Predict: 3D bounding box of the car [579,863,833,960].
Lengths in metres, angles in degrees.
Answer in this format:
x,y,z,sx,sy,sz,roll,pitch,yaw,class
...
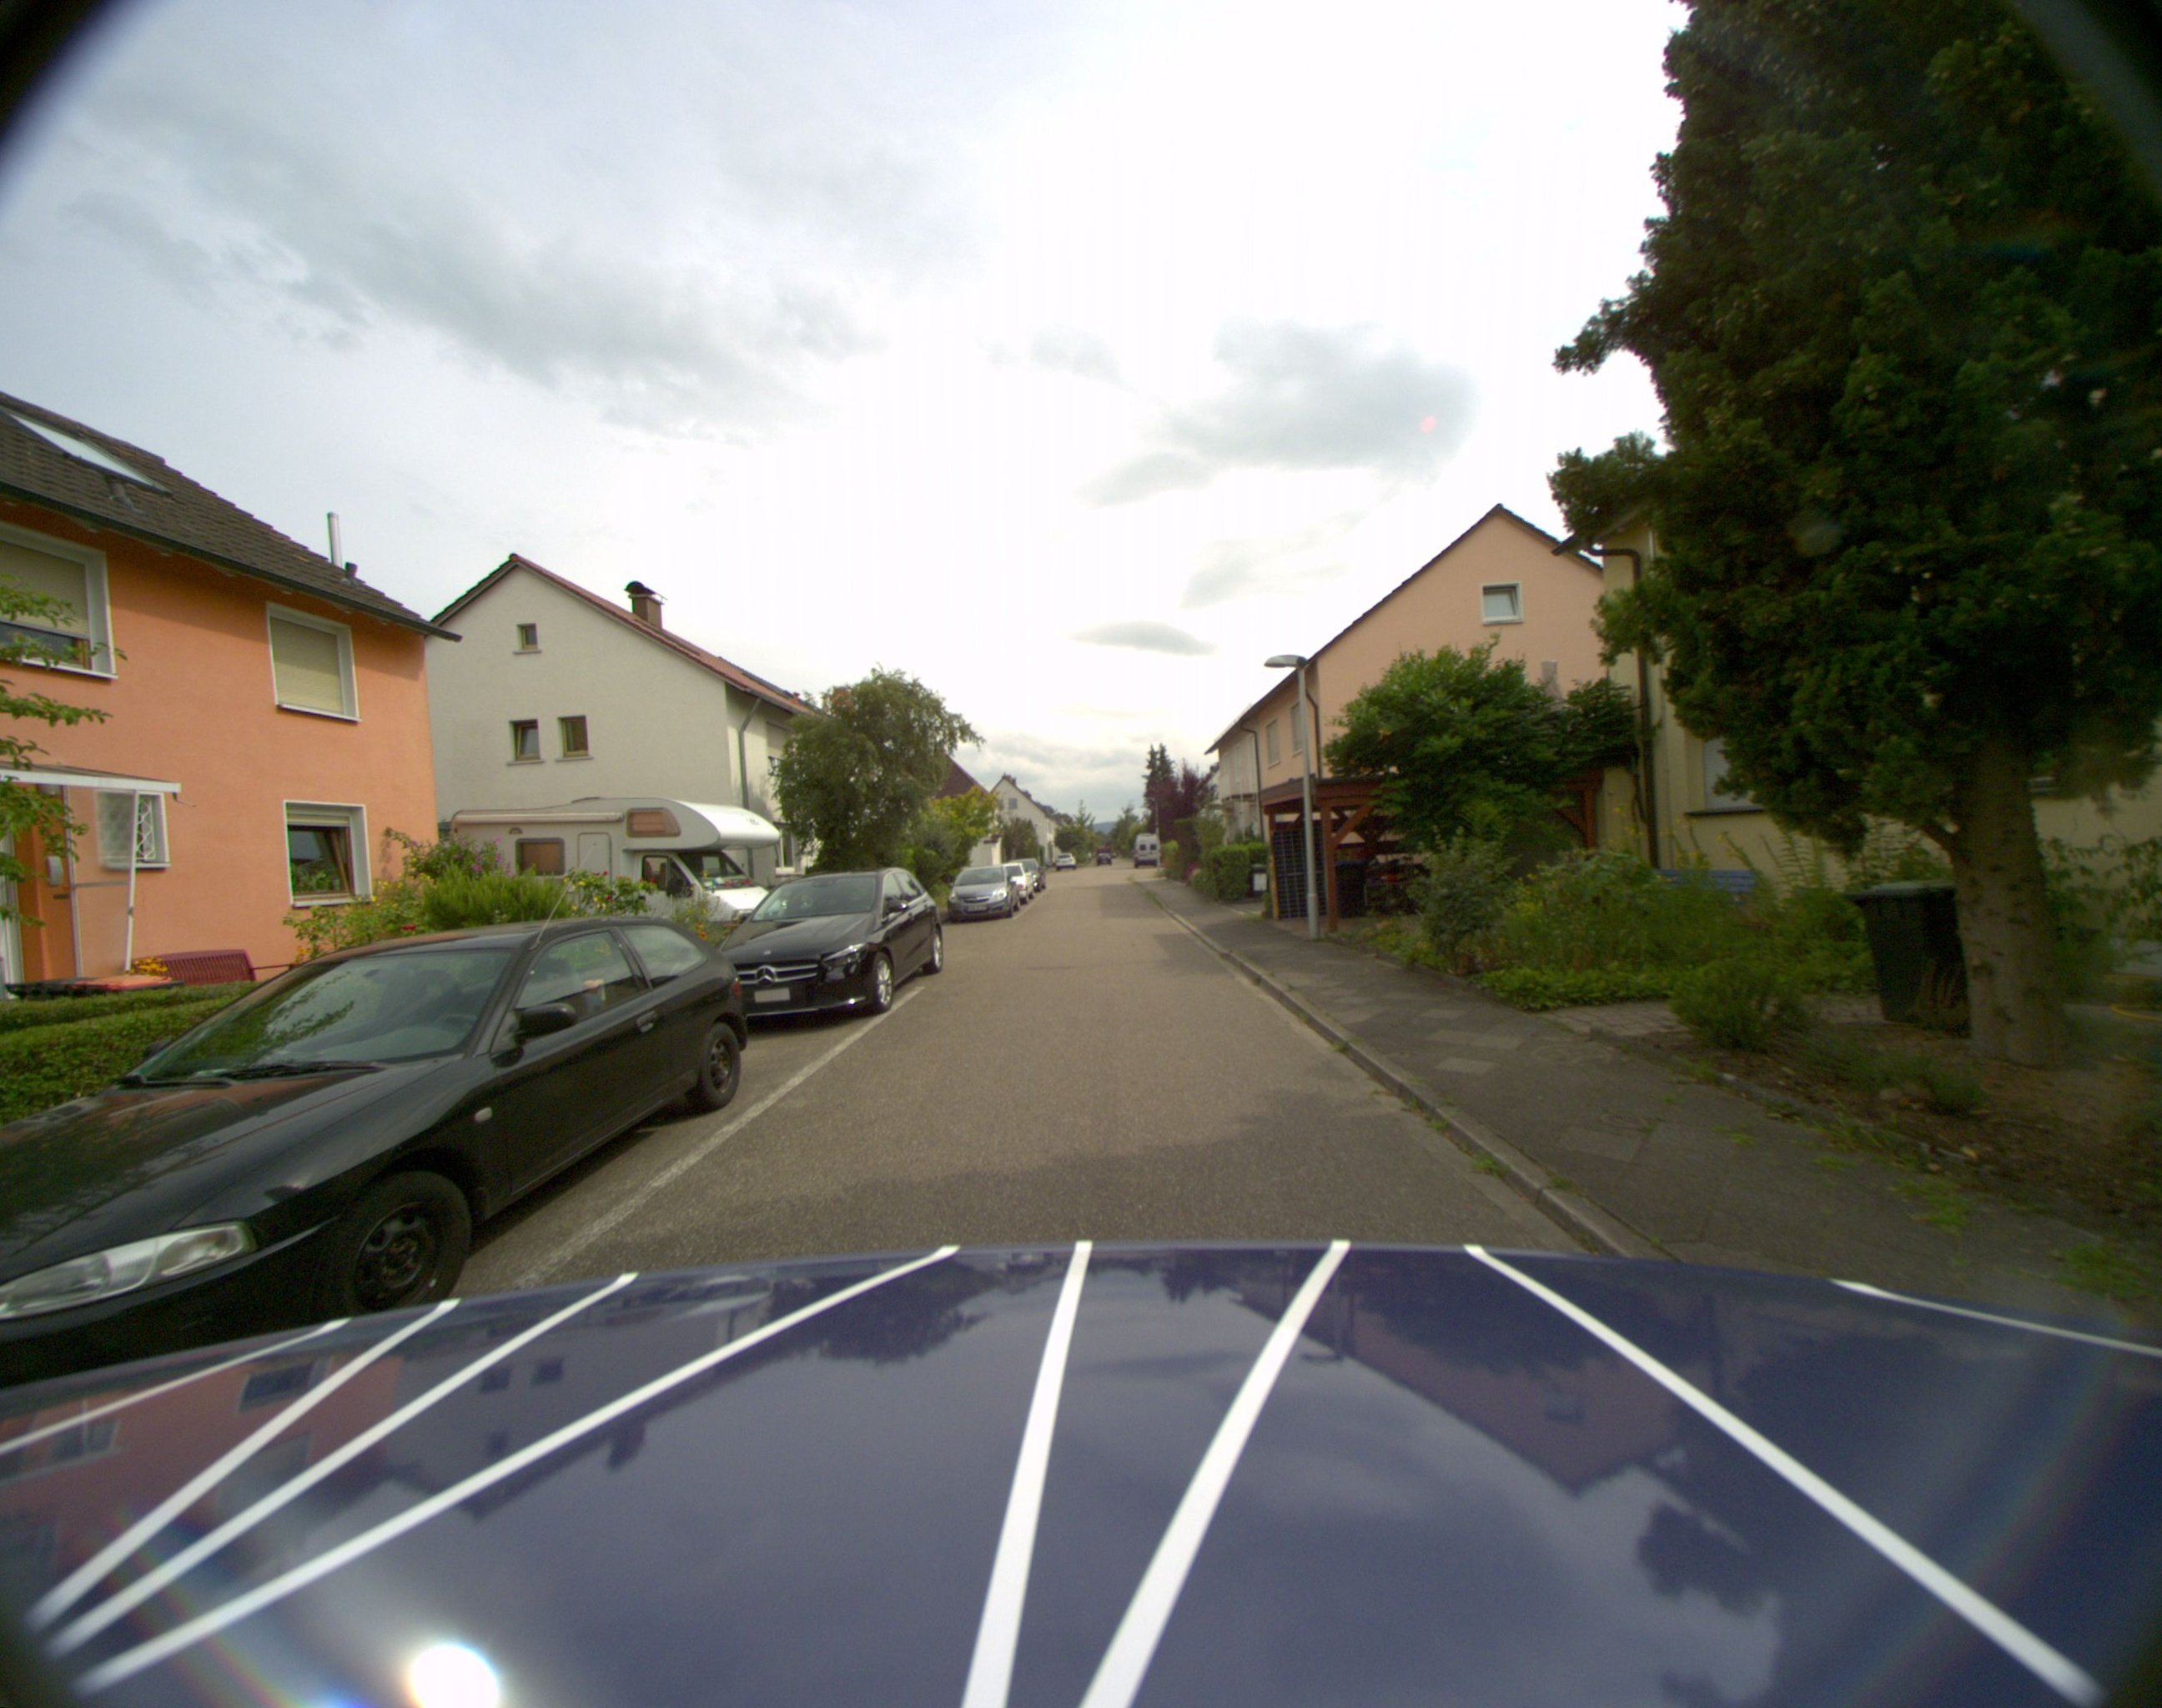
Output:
x,y,z,sx,sy,sz,roll,pitch,yaw,class
-8.062,1.210,16.598,4.541,1.698,1.899,-4,1,4,car

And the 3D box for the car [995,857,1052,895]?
x,y,z,sx,sy,sz,roll,pitch,yaw,class
-2.478,0.914,33.892,1.872,1.431,4.851,-4,0,2,car

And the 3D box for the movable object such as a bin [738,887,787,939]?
x,y,z,sx,sy,sz,roll,pitch,yaw,class
-7.868,1.446,18.820,0.655,1.169,1.142,-3,1,1,movable object such as a bin

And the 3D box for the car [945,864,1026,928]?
x,y,z,sx,sy,sz,roll,pitch,yaw,class
-2.603,1.117,21.610,1.707,1.434,4.220,-5,0,-1,car

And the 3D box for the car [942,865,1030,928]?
x,y,z,sx,sy,sz,roll,pitch,yaw,class
-2.591,1.127,21.672,1.746,1.462,4.217,-3,0,2,car

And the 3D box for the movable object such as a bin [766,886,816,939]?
x,y,z,sx,sy,sz,roll,pitch,yaw,class
-7.155,1.428,18.805,0.721,1.187,1.099,-3,1,2,movable object such as a bin

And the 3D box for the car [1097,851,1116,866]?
x,y,z,sx,sy,sz,roll,pitch,yaw,class
3.216,0.544,94.413,1.998,1.696,4.001,-4,0,5,car

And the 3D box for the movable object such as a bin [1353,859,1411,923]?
x,y,z,sx,sy,sz,roll,pitch,yaw,class
5.646,0.675,14.305,0.705,1.123,0.877,-3,1,1,movable object such as a bin

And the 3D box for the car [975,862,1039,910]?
x,y,z,sx,sy,sz,roll,pitch,yaw,class
-2.553,1.075,27.204,1.697,1.357,4.698,-4,0,1,car

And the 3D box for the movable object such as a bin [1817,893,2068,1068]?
x,y,z,sx,sy,sz,roll,pitch,yaw,class
5.424,0.767,4.838,0.713,0.951,0.751,-3,1,1,movable object such as a bin

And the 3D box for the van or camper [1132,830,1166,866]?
x,y,z,sx,sy,sz,roll,pitch,yaw,class
5.715,-0.497,64.553,2.346,2.719,5.748,-4,0,2,van or camper

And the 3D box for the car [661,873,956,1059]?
x,y,z,sx,sy,sz,roll,pitch,yaw,class
-2.885,1.086,9.289,1.753,1.458,4.648,-4,0,1,car

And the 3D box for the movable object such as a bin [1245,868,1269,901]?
x,y,z,sx,sy,sz,roll,pitch,yaw,class
4.854,0.836,20.926,0.497,0.876,0.530,-3,0,1,movable object such as a bin

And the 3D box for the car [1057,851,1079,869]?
x,y,z,sx,sy,sz,roll,pitch,yaw,class
-1.336,0.559,74.407,1.999,1.590,3.999,-4,0,-2,car

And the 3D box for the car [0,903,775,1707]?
x,y,z,sx,sy,sz,roll,pitch,yaw,class
-3.195,1.144,3.638,1.737,1.419,4.125,-4,0,-1,car

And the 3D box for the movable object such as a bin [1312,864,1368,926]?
x,y,z,sx,sy,sz,roll,pitch,yaw,class
4.905,0.759,14.441,0.705,1.065,0.822,-5,1,1,movable object such as a bin

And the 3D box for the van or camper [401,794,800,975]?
x,y,z,sx,sy,sz,roll,pitch,yaw,class
-8.705,0.555,14.213,5.812,2.801,2.538,-3,0,4,van or camper

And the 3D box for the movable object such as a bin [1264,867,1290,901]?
x,y,z,sx,sy,sz,roll,pitch,yaw,class
5.395,0.821,20.915,0.539,0.875,0.534,-3,0,1,movable object such as a bin
